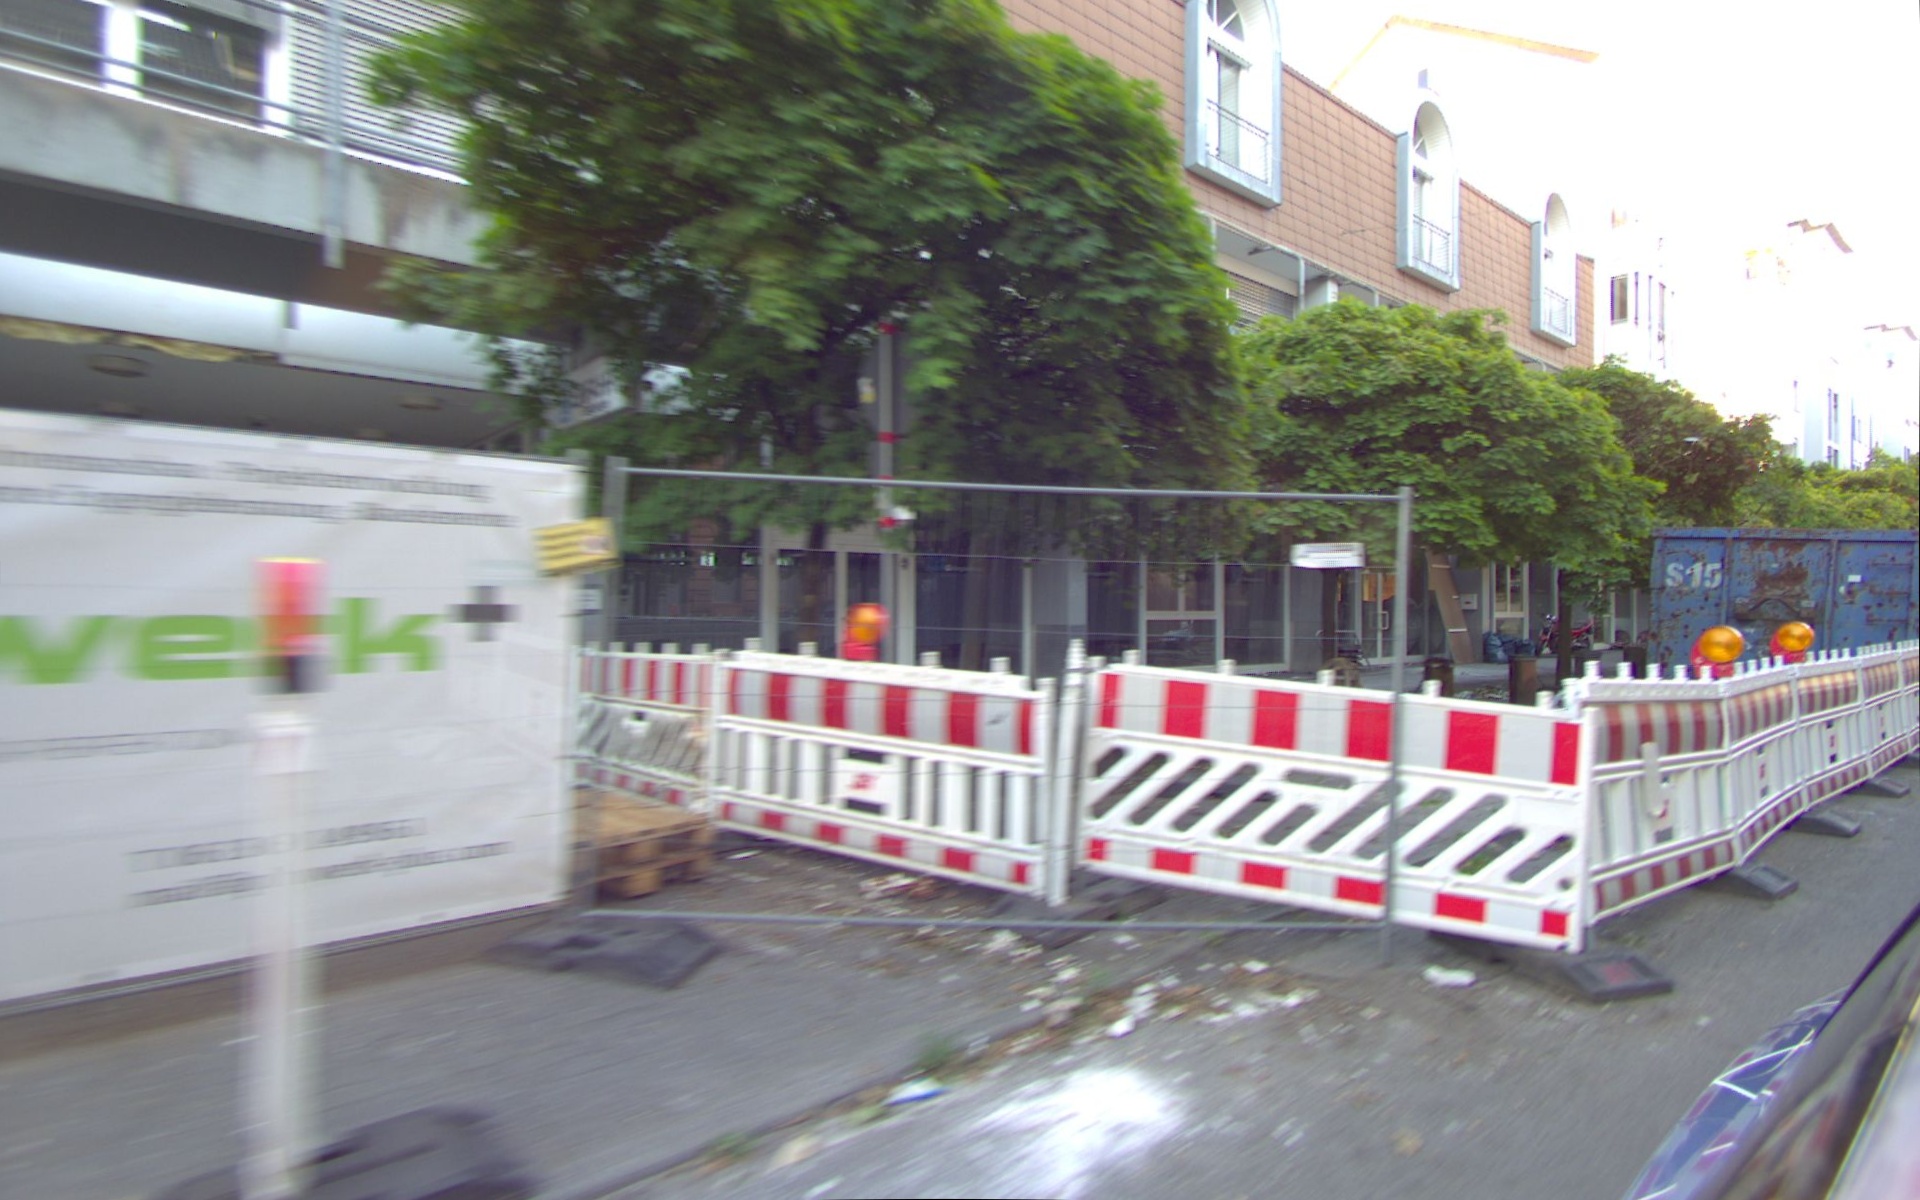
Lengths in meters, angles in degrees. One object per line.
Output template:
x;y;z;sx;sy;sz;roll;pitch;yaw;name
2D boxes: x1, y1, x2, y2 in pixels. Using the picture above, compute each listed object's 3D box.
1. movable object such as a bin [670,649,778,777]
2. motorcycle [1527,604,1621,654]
-1.980;0.919;8.486;0.701;0.988;0.556;1;-2;-44;movable object such as a bin
16.266;0.747;26.816;2.405;1.238;0.874;0;0;-22;motorcycle
